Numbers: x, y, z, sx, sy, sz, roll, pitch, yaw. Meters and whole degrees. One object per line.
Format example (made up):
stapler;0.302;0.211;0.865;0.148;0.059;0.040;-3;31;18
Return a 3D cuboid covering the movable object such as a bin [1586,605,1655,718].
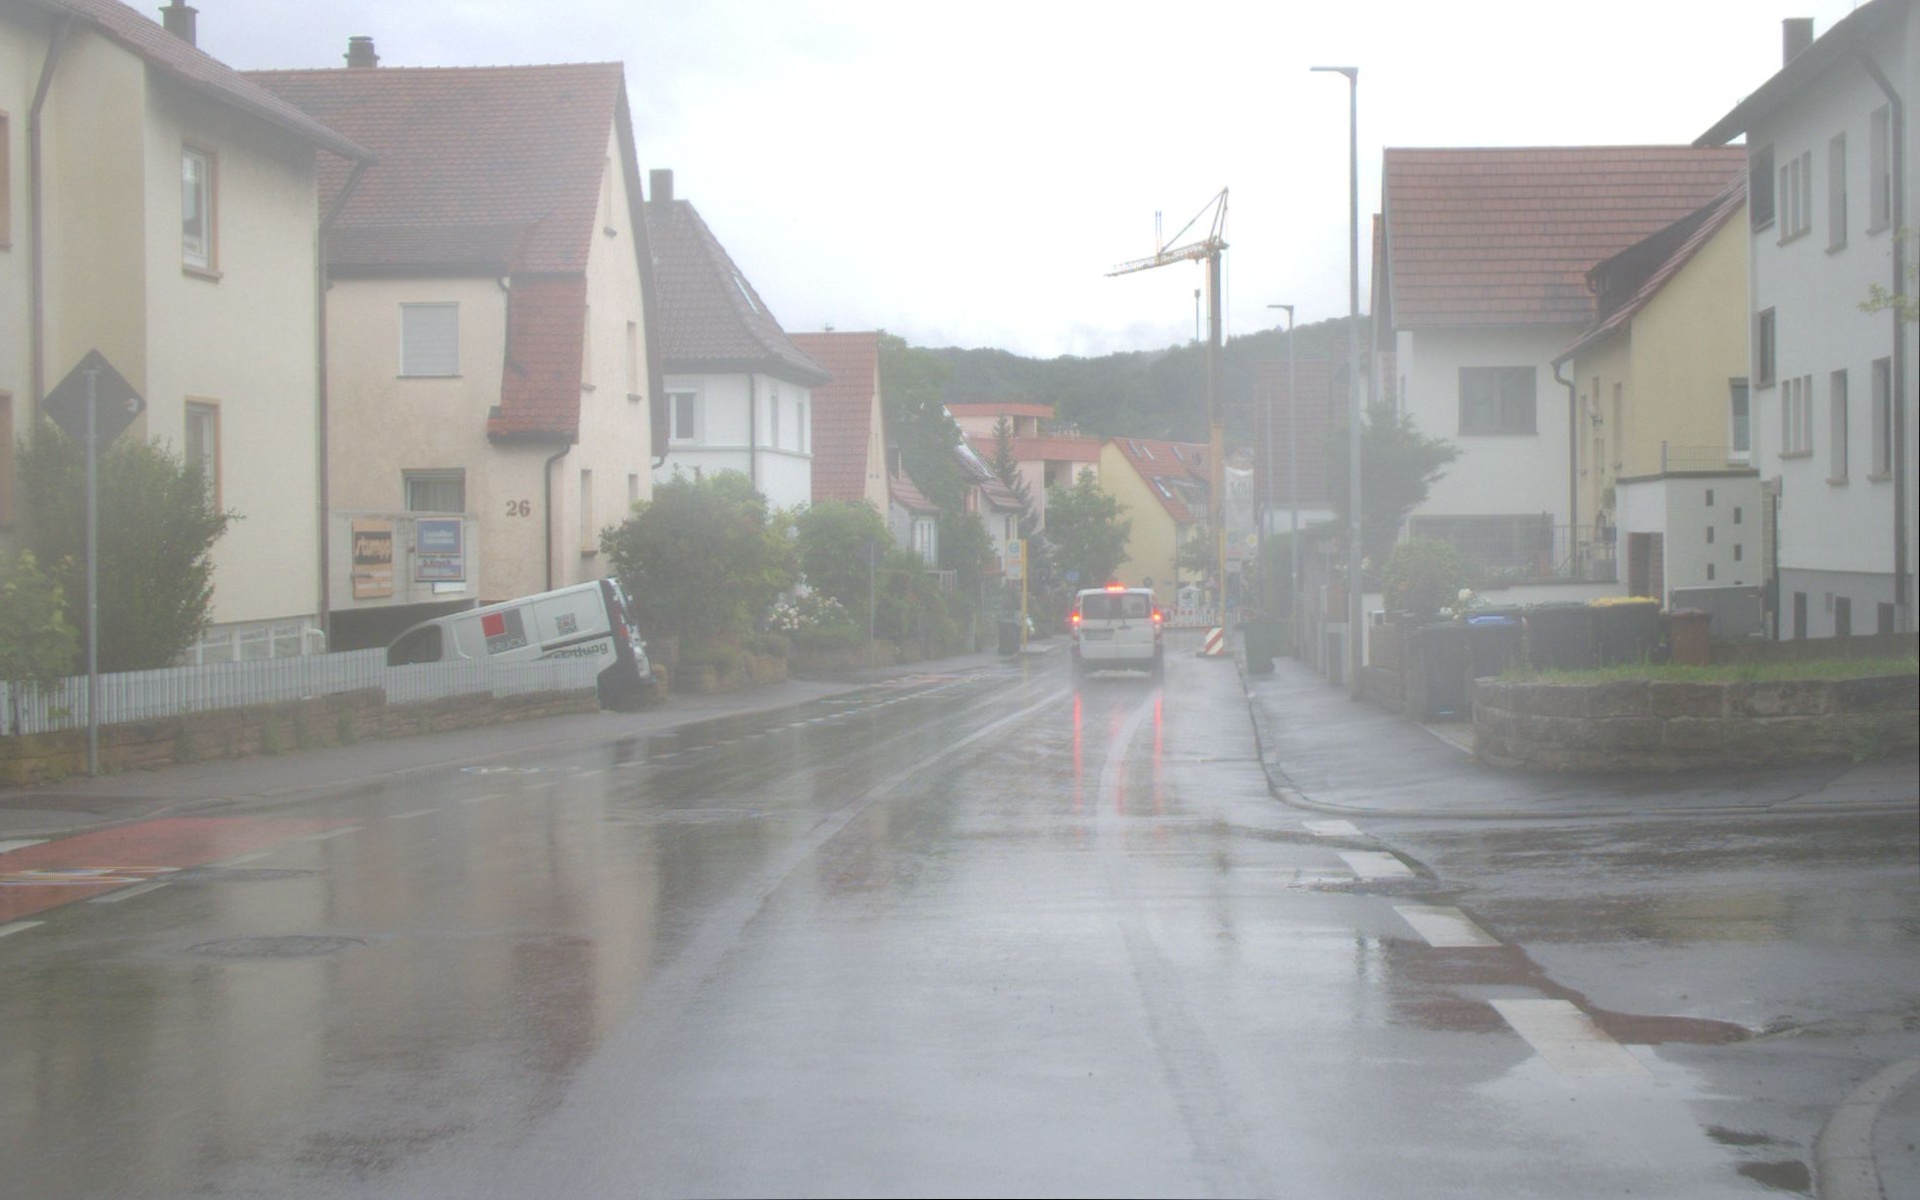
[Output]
movable object such as a bin;6.201;0.573;32.308;0.528;1.024;0.632;1;2;2

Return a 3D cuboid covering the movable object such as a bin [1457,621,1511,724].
movable object such as a bin;4.932;0.677;32.362;0.425;0.937;0.508;1;2;2

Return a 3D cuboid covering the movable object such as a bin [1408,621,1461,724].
movable object such as a bin;4.471;0.681;32.393;0.425;0.937;0.508;1;2;2

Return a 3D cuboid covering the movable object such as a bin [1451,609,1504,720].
movable object such as a bin;4.970;0.614;33.030;0.425;1.024;0.632;1;2;2

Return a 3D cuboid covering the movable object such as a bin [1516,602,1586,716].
movable object such as a bin;5.555;0.548;32.338;0.544;1.024;0.632;1;2;2

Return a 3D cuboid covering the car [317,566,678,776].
car;-6.656;1.001;49.835;4.555;2.006;2.160;-12;1;4

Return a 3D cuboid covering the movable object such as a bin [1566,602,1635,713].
movable object such as a bin;6.142;0.549;33.005;0.544;1.024;0.632;1;2;2

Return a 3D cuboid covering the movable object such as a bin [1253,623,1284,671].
movable object such as a bin;8.514;1.301;94.896;0.786;1.273;0.713;1;2;8

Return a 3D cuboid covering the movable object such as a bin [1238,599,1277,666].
movable object such as a bin;5.877;0.631;67.931;0.745;1.274;0.882;-1;2;5

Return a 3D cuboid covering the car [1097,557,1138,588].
car;8.833;-1.539;192.575;1.842;1.573;4.288;1;2;9

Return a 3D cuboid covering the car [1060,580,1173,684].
car;3.234;0.612;70.191;2.117;1.881;4.502;1;2;5

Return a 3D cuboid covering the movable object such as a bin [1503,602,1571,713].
movable object such as a bin;5.539;0.546;33.030;0.544;1.024;0.632;1;2;2
